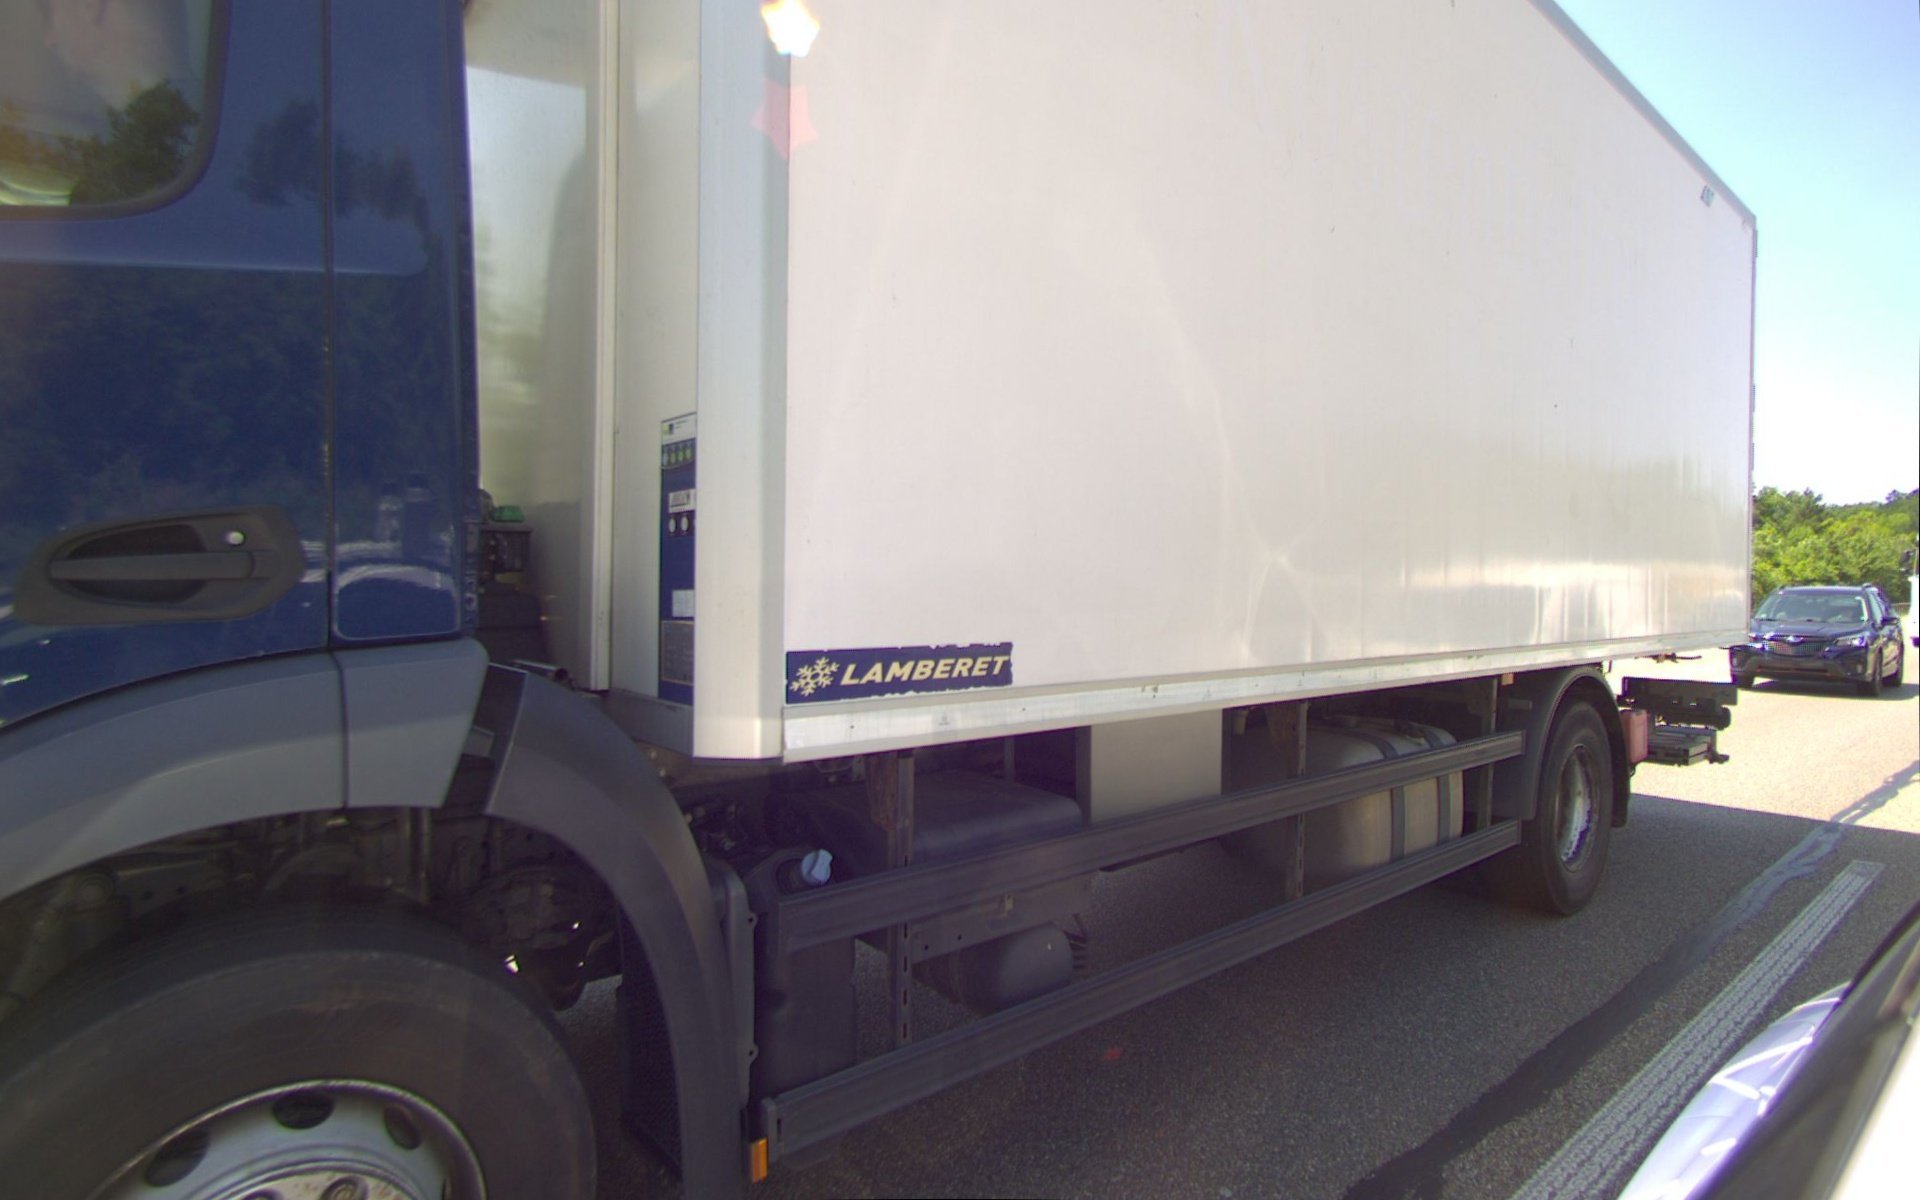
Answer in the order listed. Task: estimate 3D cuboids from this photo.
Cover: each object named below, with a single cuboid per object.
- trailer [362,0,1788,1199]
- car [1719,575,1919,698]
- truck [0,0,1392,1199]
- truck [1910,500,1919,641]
[{"bbox_3d":[1.688,-0.164,5.068,7.744,2.936,2.560,0,0,-41],"label":"trailer"},{"bbox_3d":[14.167,0.467,16.591,4.534,1.713,1.996,-1,2,-43],"label":"car"},{"bbox_3d":[-1.098,-0.132,2.640,4.032,2.977,2.561,-1,2,-40],"label":"truck"},{"bbox_3d":[31.737,-0.911,31.189,7.204,4.135,2.765,-1,1,-40],"label":"truck"}]
